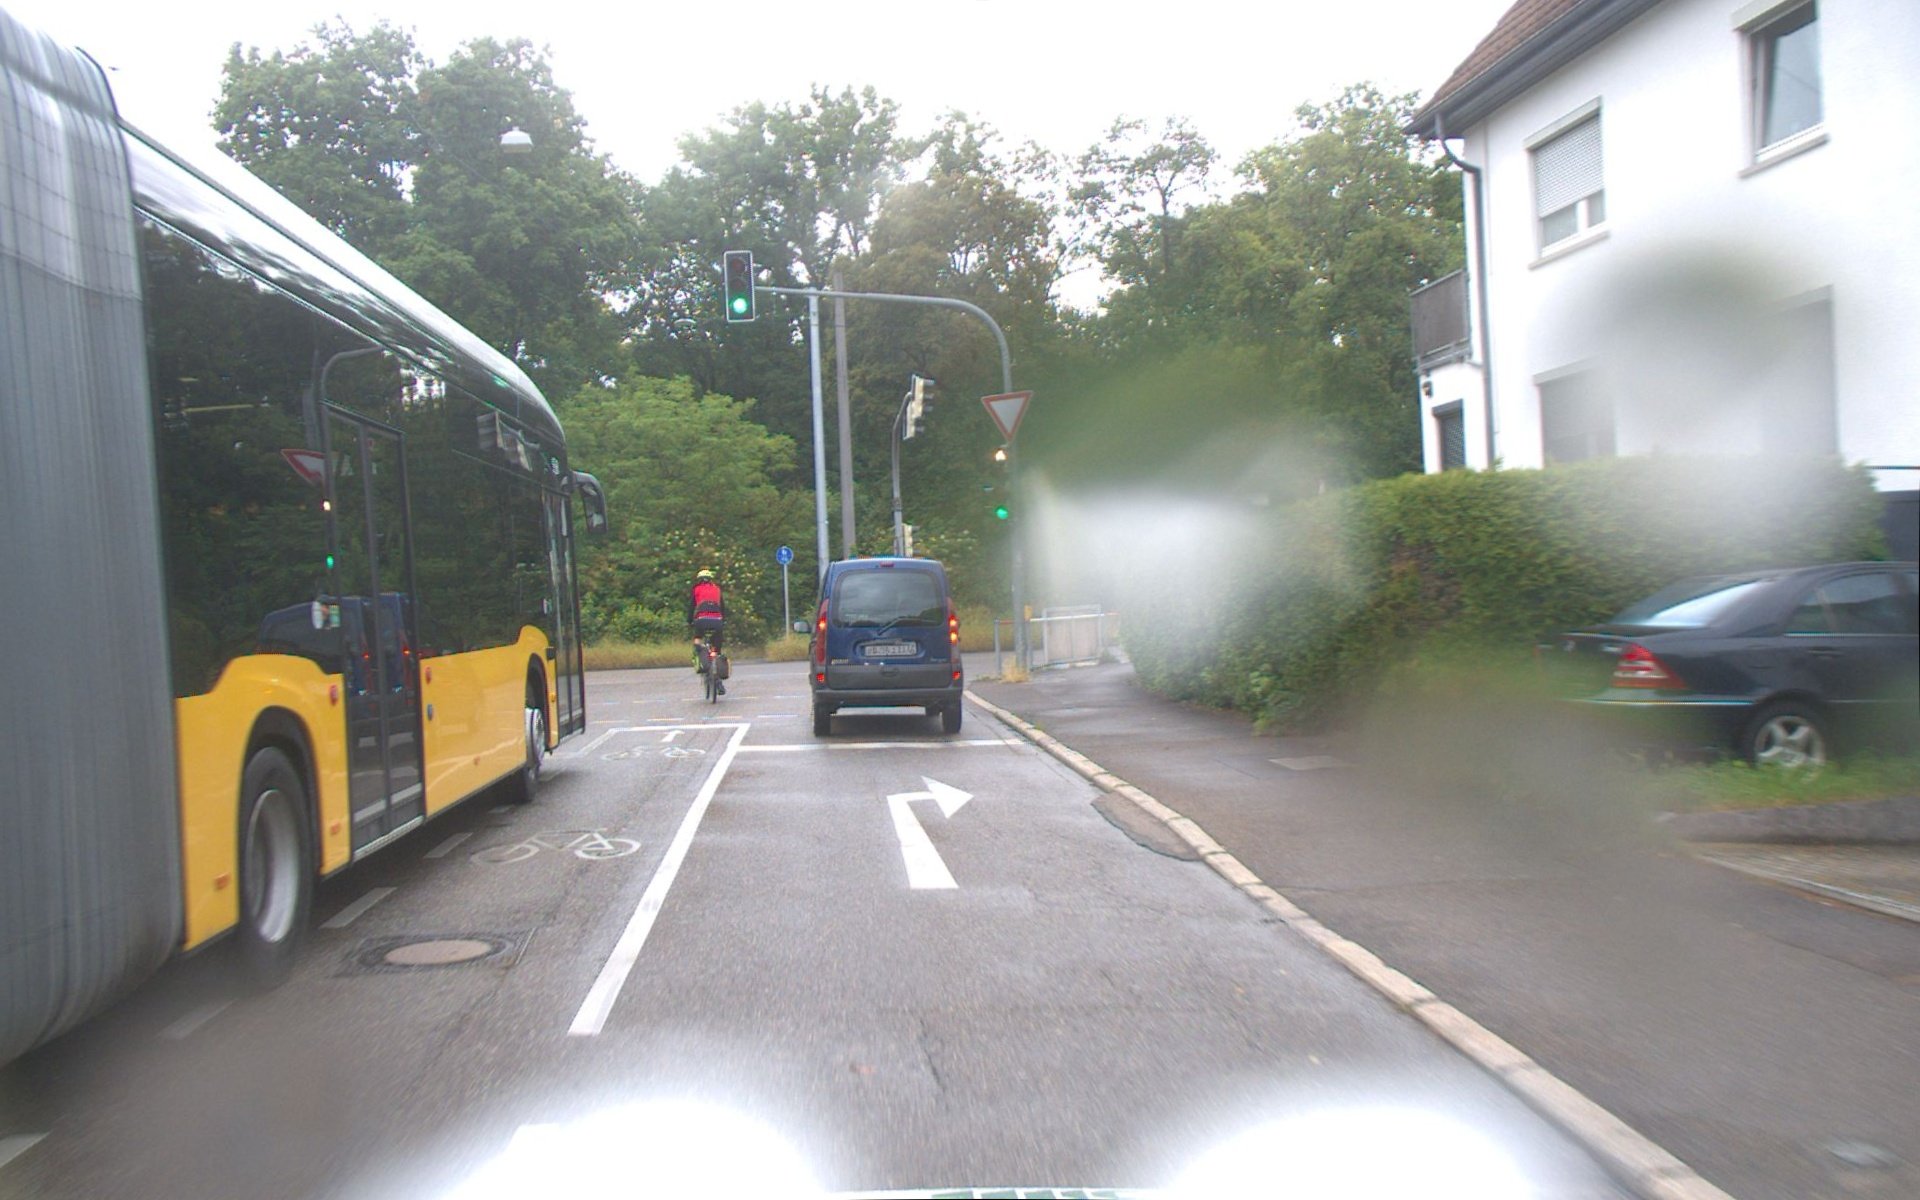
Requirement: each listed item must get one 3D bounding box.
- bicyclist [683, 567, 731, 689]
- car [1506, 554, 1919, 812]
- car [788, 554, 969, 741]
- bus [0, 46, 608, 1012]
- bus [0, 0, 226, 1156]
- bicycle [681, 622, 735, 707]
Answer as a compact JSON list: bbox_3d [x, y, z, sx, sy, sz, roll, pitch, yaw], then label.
[{"bbox_3d":[-3.595,0.384,23.480,0.568,1.681,1.045,-1,0,-14],"label":"bicyclist"},{"bbox_3d":[5.698,0.458,10.859,3.671,1.412,1.614,-2,2,-7],"label":"car"},{"bbox_3d":[-0.951,0.503,18.717,1.773,1.829,3.997,-2,-1,-4],"label":"car"},{"bbox_3d":[-4.344,-0.244,10.392,2.843,3.457,9.033,-2,0,-4],"label":"bus"},{"bbox_3d":[-3.753,-0.215,1.354,2.623,3.457,8.676,-2,0,-2],"label":"bus"},{"bbox_3d":[-3.616,0.887,23.612,0.568,1.115,2.147,-1,0,-14],"label":"bicycle"}]
